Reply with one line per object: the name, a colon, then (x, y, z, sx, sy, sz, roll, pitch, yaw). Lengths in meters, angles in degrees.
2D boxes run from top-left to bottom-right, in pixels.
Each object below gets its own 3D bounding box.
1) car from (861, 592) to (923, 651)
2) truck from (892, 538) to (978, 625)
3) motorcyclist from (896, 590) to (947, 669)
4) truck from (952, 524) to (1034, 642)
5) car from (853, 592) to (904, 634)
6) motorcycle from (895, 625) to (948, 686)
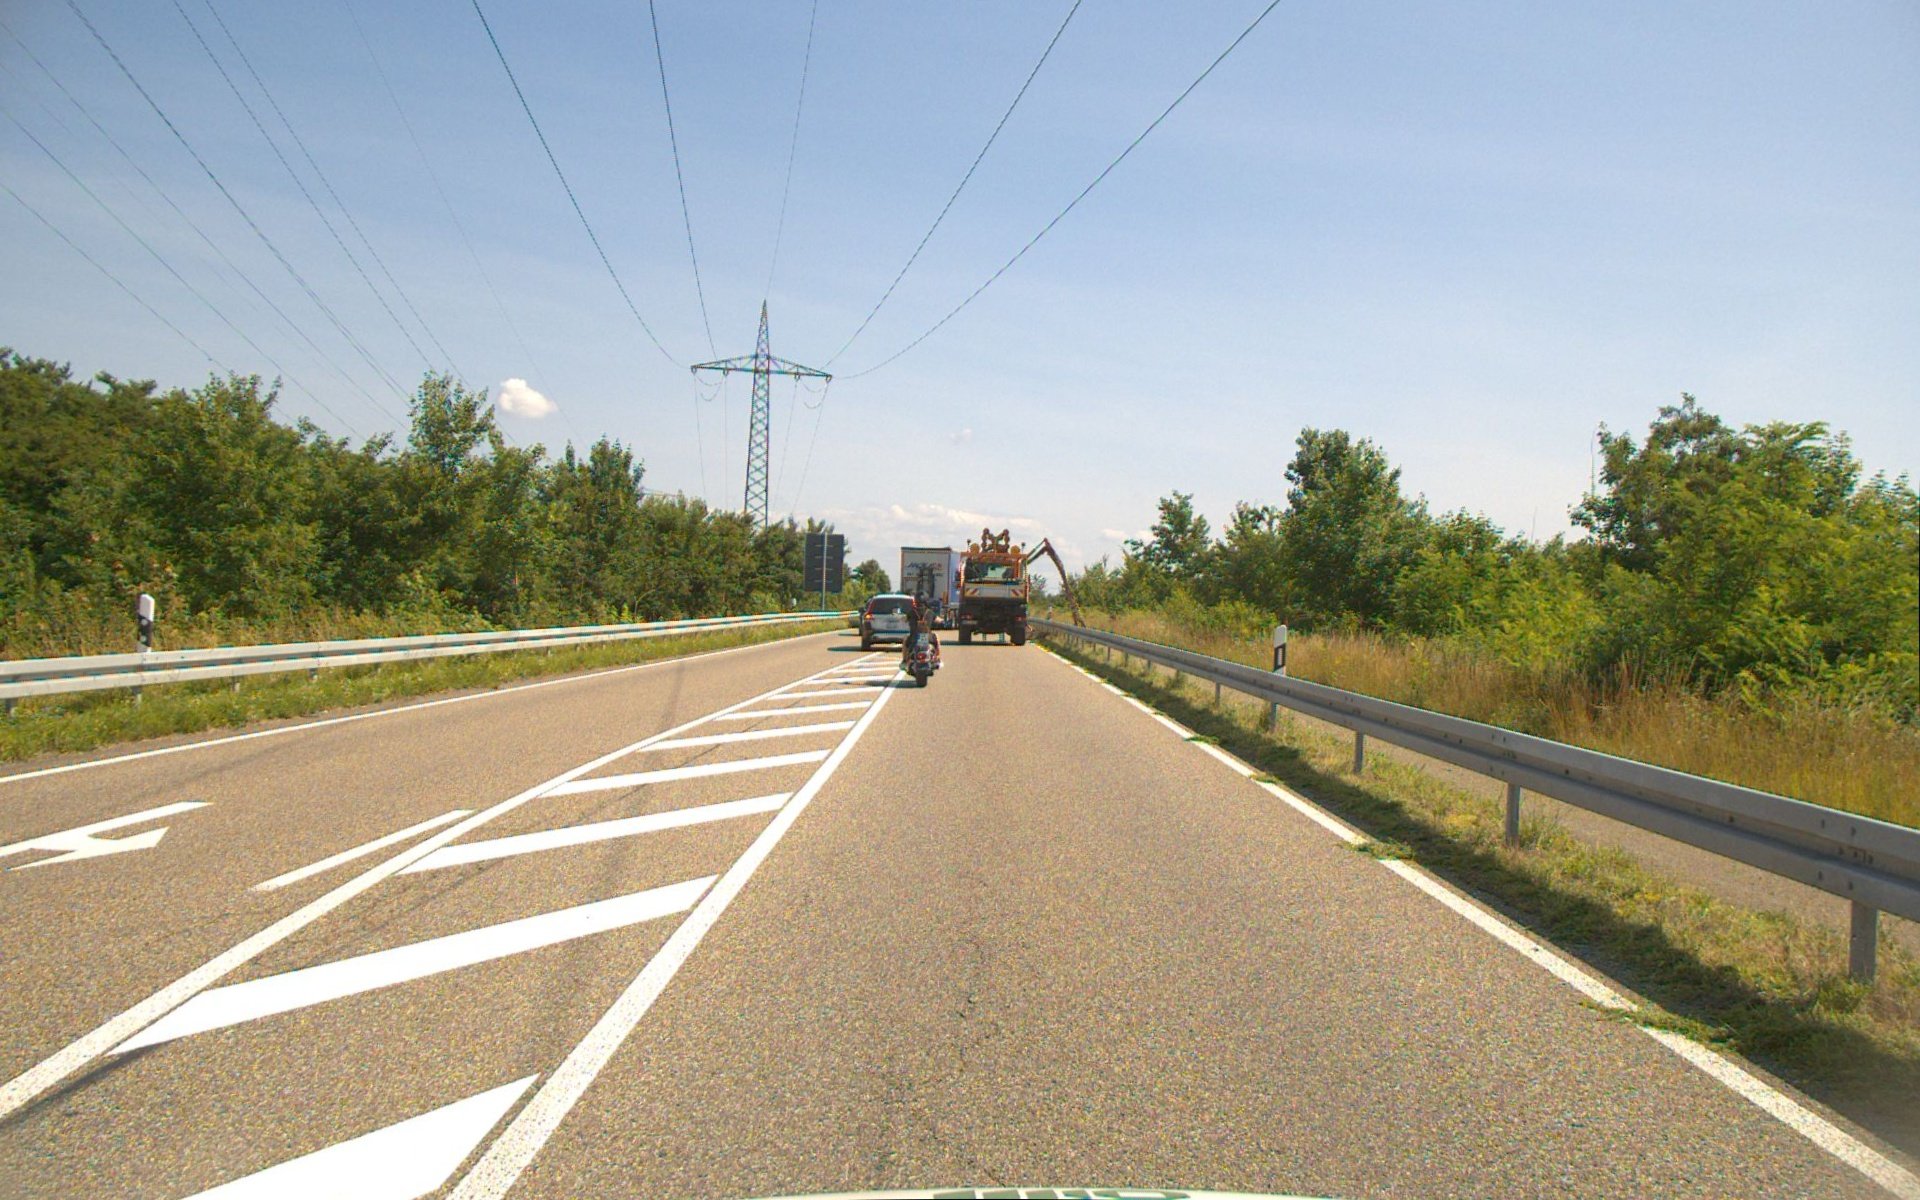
car: (-1.957, 0.572, 46.882, 1.667, 1.563, 3.497, 1, 0, -3)
truck: (-1.174, -0.917, 89.077, 2.905, 4.260, 14.831, 1, 0, 6)
motorcyclist: (-0.653, 0.492, 28.209, 0.820, 1.303, 0.919, 1, 0, -2)
truck: (1.102, -0.557, 56.795, 2.560, 3.776, 6.778, 1, 0, 1)
car: (-3.142, 0.474, 64.401, 1.817, 1.516, 3.740, 1, 0, 0)
motorcycle: (-0.652, 0.928, 28.121, 0.841, 0.931, 2.227, 1, 0, -1)
